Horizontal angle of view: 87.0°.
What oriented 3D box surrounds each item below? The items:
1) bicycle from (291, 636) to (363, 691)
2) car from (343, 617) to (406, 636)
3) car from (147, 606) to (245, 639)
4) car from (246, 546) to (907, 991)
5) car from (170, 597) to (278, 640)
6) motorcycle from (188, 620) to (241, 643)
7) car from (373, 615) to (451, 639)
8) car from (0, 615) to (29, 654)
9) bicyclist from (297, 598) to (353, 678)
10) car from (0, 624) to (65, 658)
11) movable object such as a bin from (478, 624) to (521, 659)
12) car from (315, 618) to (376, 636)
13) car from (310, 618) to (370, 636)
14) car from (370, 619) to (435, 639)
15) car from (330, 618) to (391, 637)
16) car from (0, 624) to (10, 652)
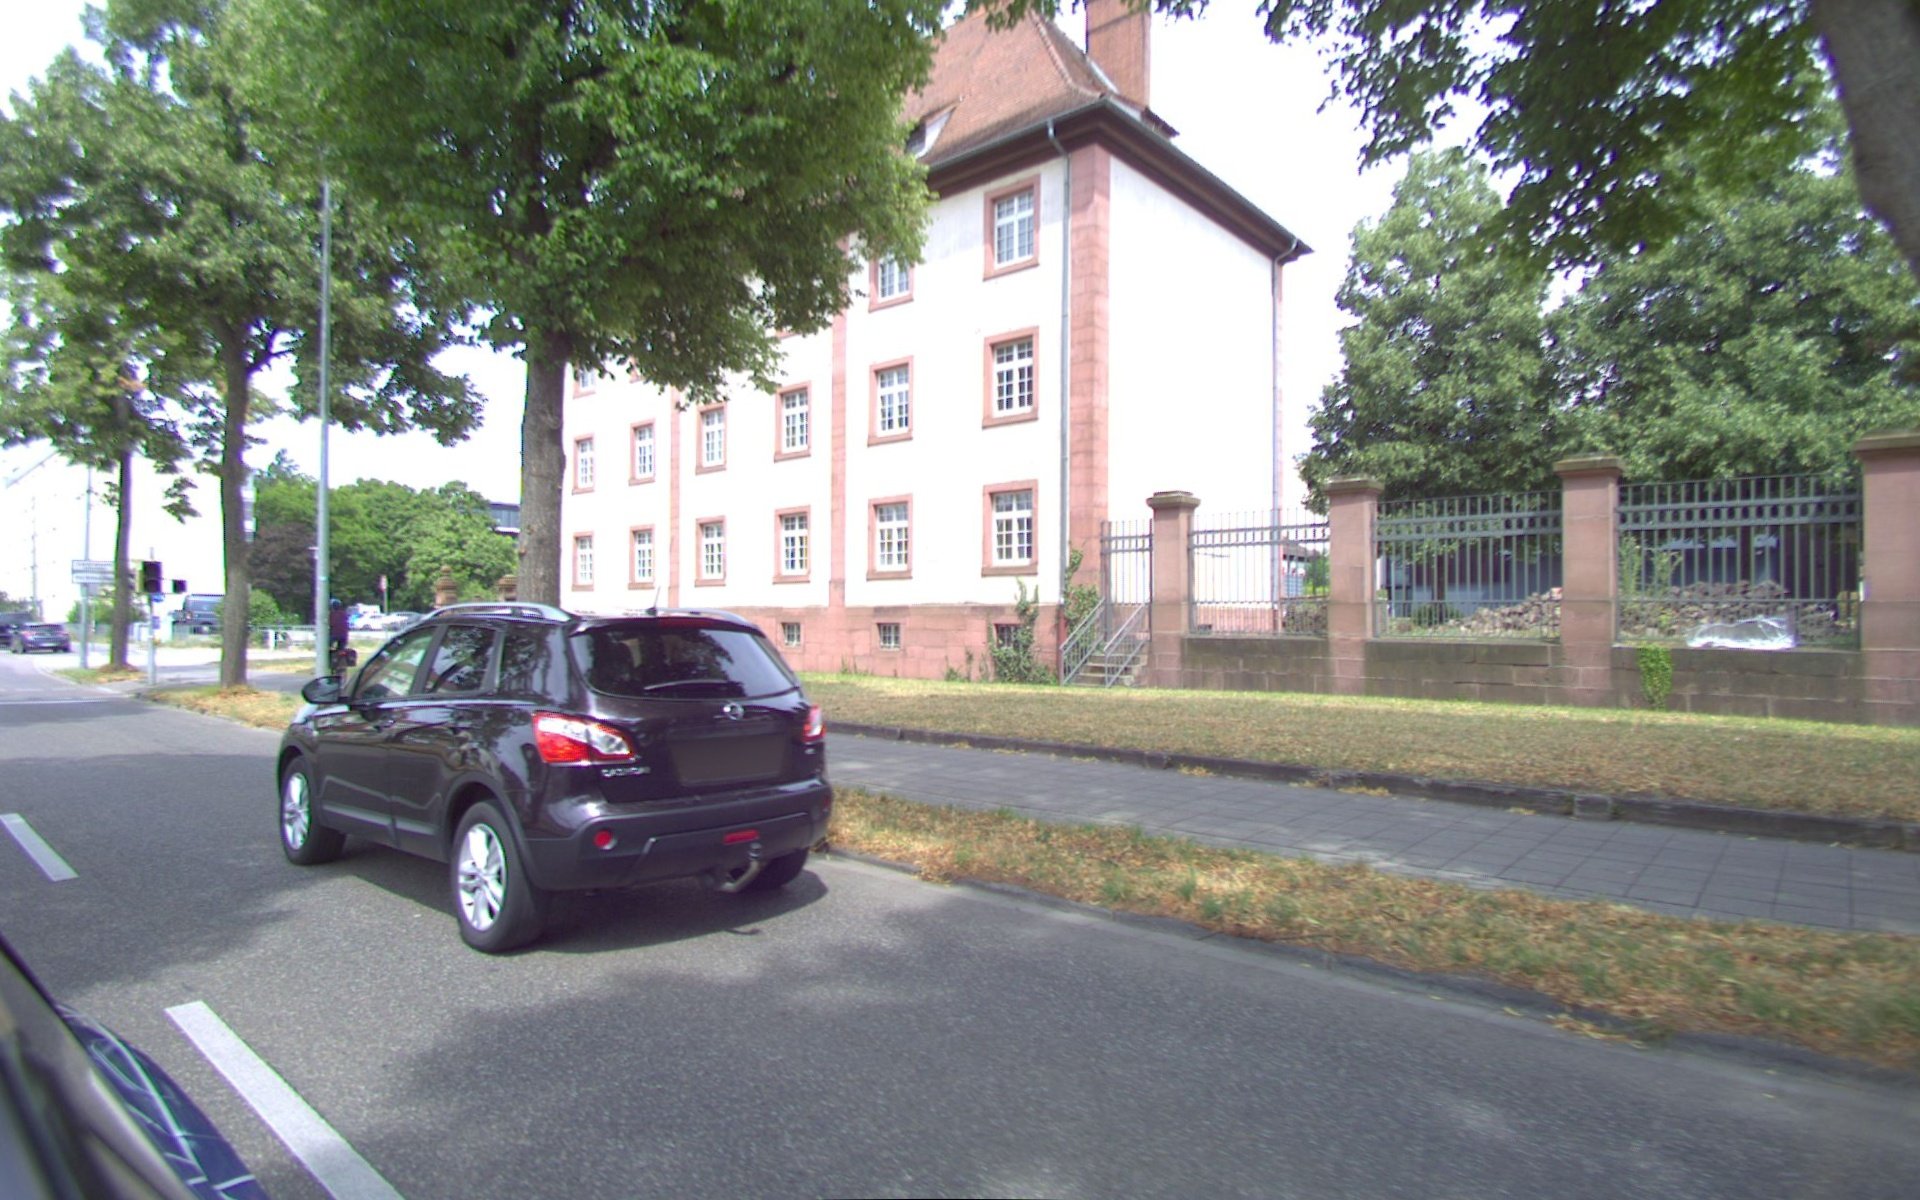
[{"bbox_3d":[-13.946,1.377,22.272,2.150,1.103,0.715,-2,2,41],"label":"bicycle"},{"bbox_3d":[-47.228,2.136,81.664,1.969,1.494,3.946,0,-1,41],"label":"car"},{"bbox_3d":[-52.142,1.566,69.124,2.228,2.166,5.029,-2,-3,43],"label":"car"},{"bbox_3d":[-2.452,0.737,5.894,4.254,1.672,1.753,-3,-4,40],"label":"car"},{"bbox_3d":[-47.810,1.144,65.826,2.354,2.571,5.254,-1,0,42],"label":"car"},{"bbox_3d":[-37.764,1.602,51.273,2.066,1.151,0.725,4,-4,-45],"label":"motorcycle"},{"bbox_3d":[-41.557,2.061,76.805,2.330,1.677,4.641,-1,-3,43],"label":"car"},{"bbox_3d":[-52.122,1.867,54.820,4.840,2.019,1.929,-2,-1,40],"label":"car"},{"bbox_3d":[-13.923,0.826,22.200,0.958,1.668,0.715,-2,2,41],"label":"bicyclist"},{"bbox_3d":[-44.201,1.912,48.114,4.293,1.484,1.804,-1,0,39],"label":"car"},{"bbox_3d":[-20.000,1.780,43.942,1.570,1.479,1.188,-1,-2,42],"label":"movable object such as a bin"},{"bbox_3d":[-51.542,2.242,84.902,1.982,1.494,3.946,0,-1,41],"label":"car"},{"bbox_3d":[-53.130,2.285,86.762,1.982,1.494,3.946,0,-1,41],"label":"car"},{"bbox_3d":[-43.312,2.222,78.639,1.616,1.494,4.112,0,-1,41],"label":"car"},{"bbox_3d":[-49.277,2.229,83.247,1.857,1.494,3.946,0,-1,41],"label":"car"},{"bbox_3d":[-56.243,2.209,58.330,3.760,1.541,1.638,-2,-1,39],"label":"car"}]
